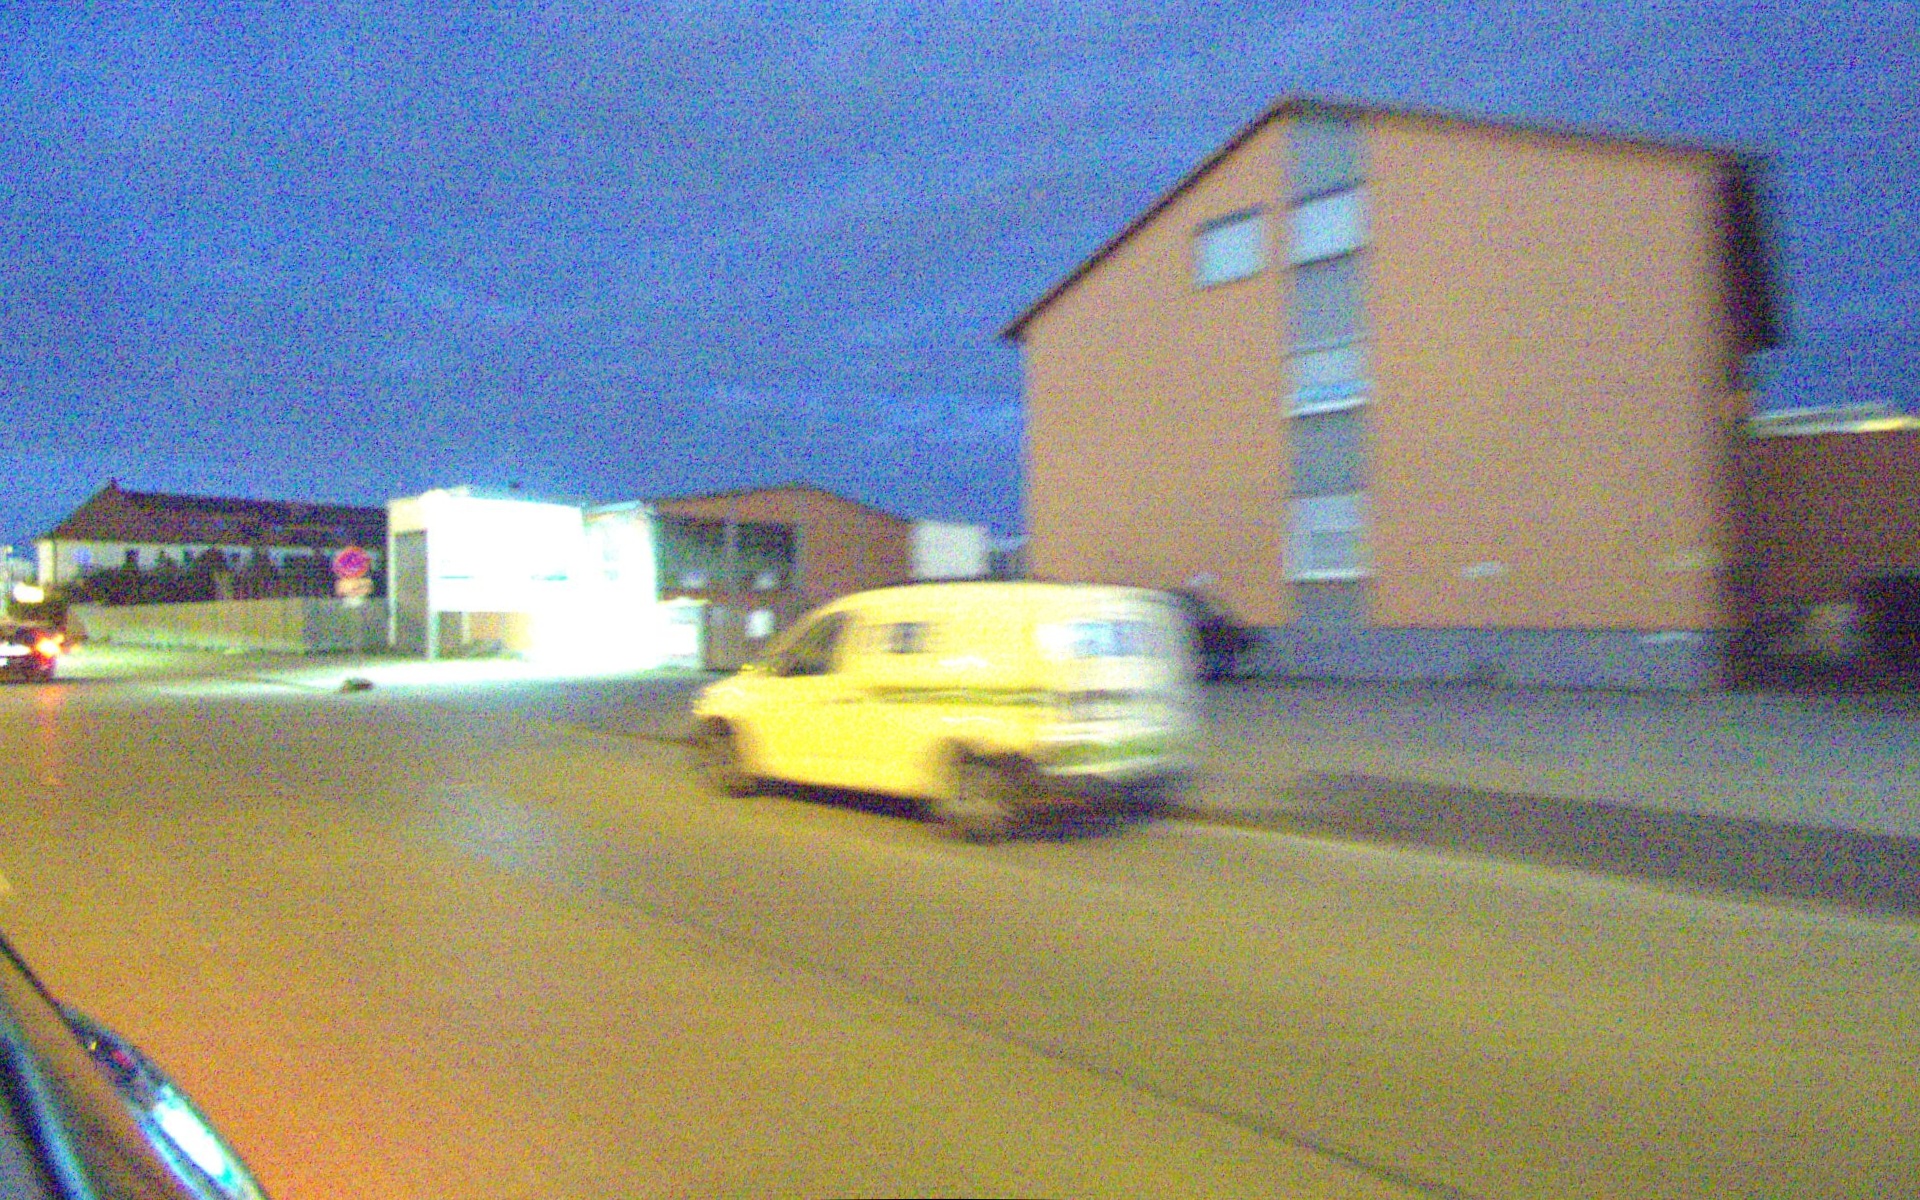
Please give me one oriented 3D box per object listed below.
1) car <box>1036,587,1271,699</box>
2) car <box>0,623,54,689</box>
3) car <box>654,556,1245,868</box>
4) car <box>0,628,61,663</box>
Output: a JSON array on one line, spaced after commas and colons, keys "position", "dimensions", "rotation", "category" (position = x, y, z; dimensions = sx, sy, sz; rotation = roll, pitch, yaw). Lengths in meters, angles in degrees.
[{"position": [3.428, 0.673, 17.409], "dimensions": [1.923, 1.666, 4.351], "rotation": [-1, -1, 44], "category": "car"}, {"position": [-23.123, 1.296, 24.142], "dimensions": [4.397, 1.448, 1.801], "rotation": [-1, -1, 42], "category": "car"}, {"position": [-0.373, 0.699, 8.193], "dimensions": [4.877, 1.812, 1.785], "rotation": [-1, -1, 42], "category": "car"}, {"position": [-40.472, 1.935, 43.930], "dimensions": [4.308, 1.401, 1.737], "rotation": [-1, -1, 43], "category": "car"}]
